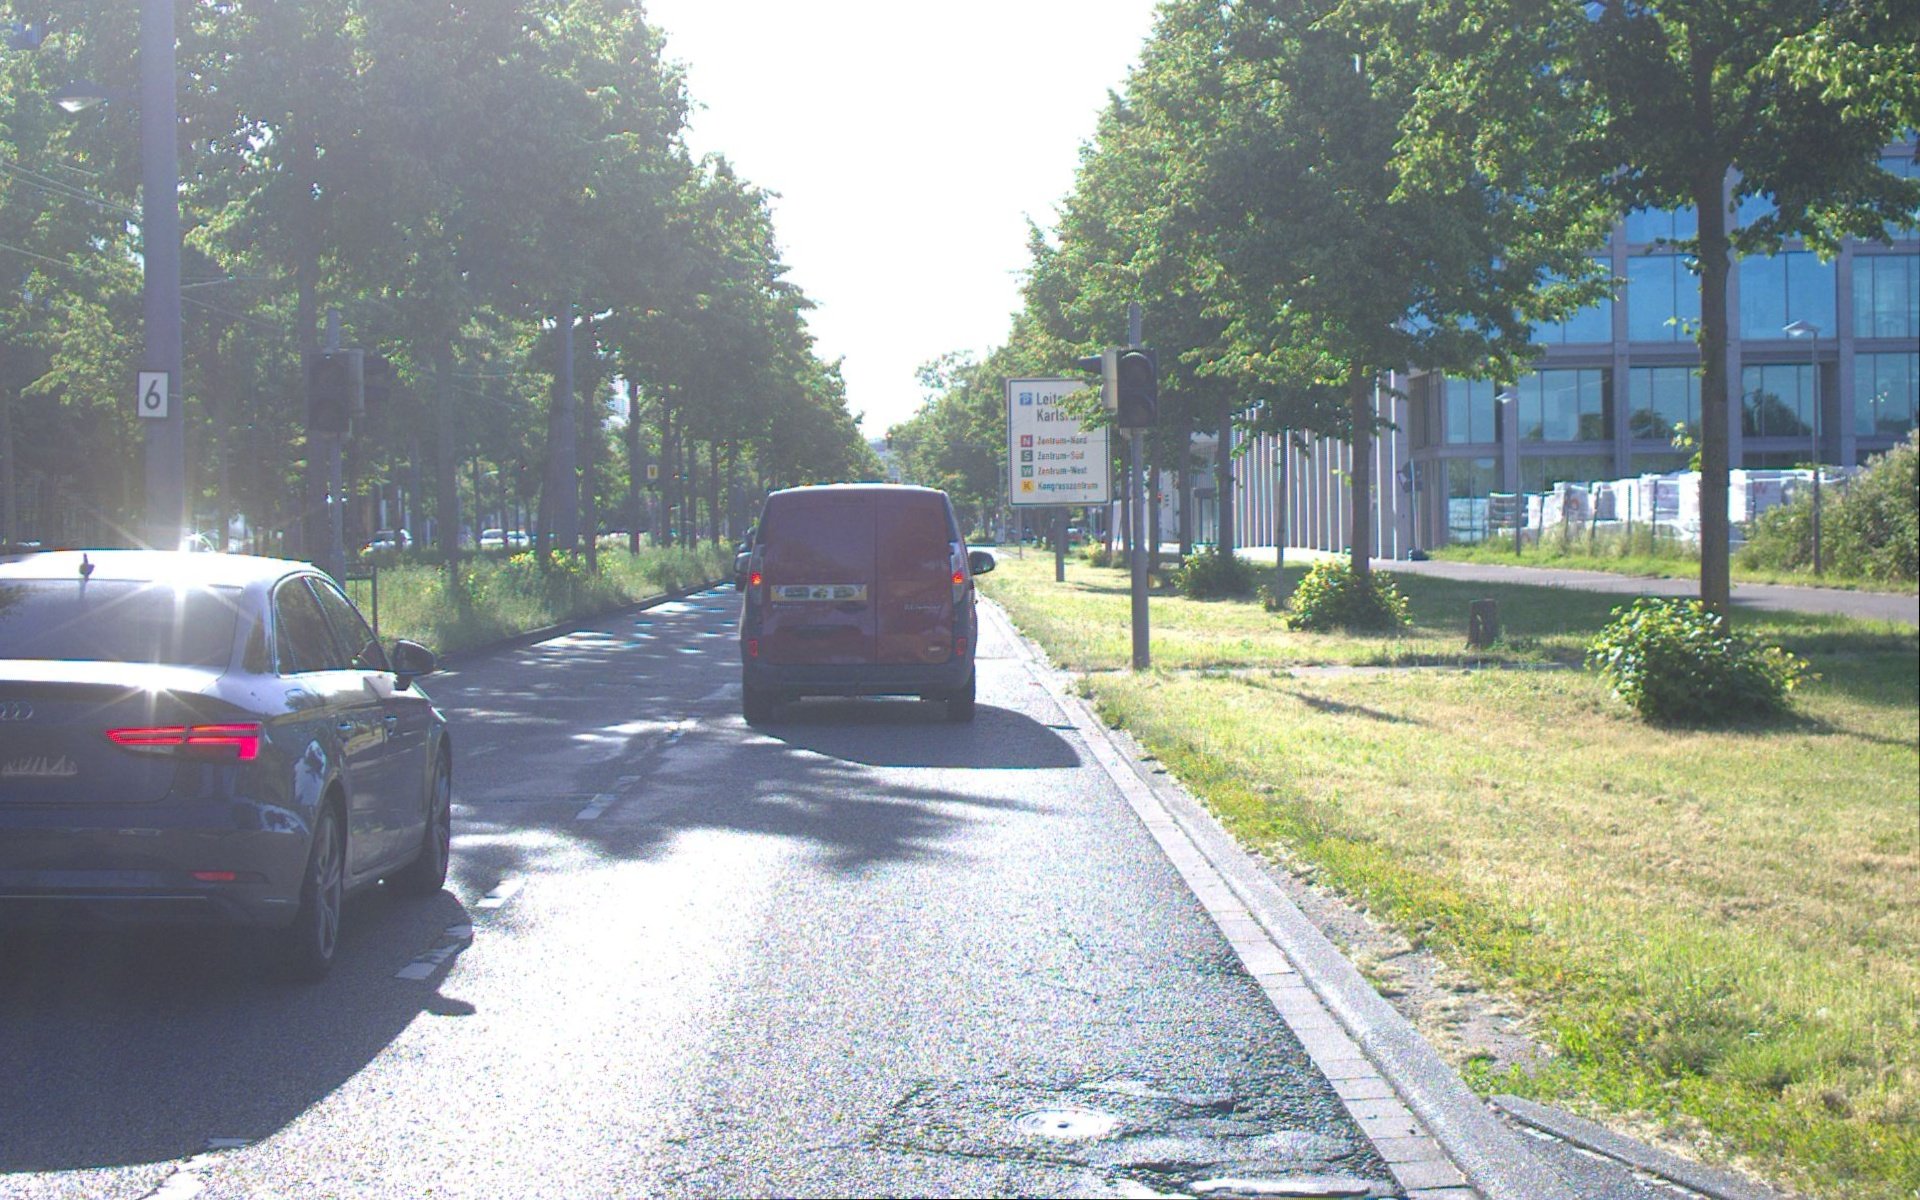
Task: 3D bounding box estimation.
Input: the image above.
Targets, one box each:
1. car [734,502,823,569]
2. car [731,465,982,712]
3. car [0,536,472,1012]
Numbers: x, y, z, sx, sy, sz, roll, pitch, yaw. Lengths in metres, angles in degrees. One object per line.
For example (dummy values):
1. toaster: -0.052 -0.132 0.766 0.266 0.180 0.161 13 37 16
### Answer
1. car: -4.082 -1.468 77.632 1.942 1.436 4.001 -1 2 -3
2. car: -0.827 -0.140 27.130 1.797 1.771 4.001 -1 2 -2
3. car: -2.913 0.481 12.317 1.721 1.361 4.146 1 2 0
